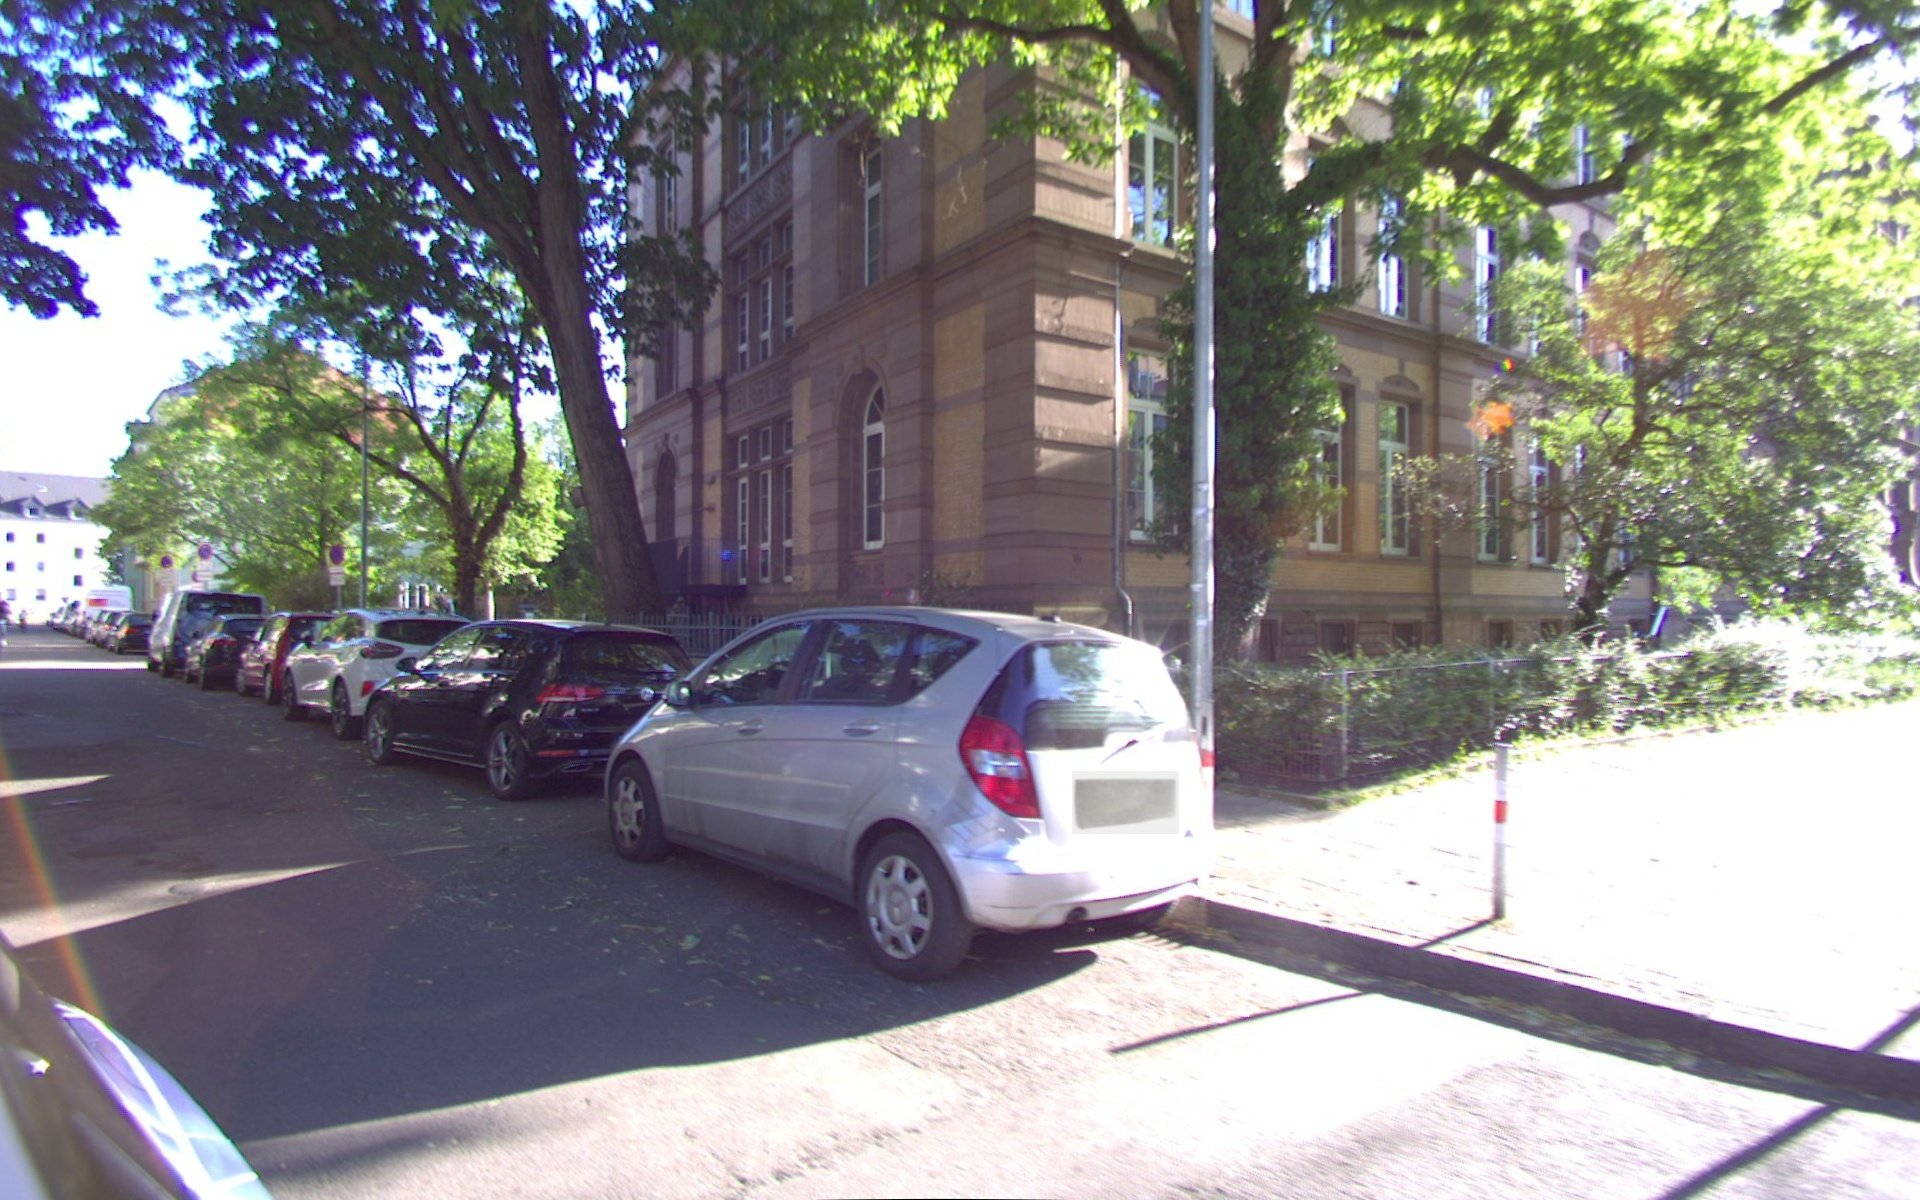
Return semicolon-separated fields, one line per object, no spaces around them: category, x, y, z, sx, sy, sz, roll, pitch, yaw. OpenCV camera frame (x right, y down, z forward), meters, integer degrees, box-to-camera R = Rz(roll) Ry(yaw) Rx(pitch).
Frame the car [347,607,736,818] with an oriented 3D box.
car;-3.965;0.886;9.276;3.997;1.475;1.565;1;-4;40

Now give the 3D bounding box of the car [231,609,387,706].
car;-11.015;0.918;17.049;1.601;1.475;3.314;2;-3;-43

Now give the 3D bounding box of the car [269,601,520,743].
car;-7.388;0.861;13.052;1.767;1.545;4.002;5;-4;-44

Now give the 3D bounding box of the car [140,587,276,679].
car;-18.218;0.793;24.413;1.970;1.973;5.047;4;-3;-43

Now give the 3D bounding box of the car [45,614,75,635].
car;-69.774;1.914;78.432;1.575;1.578;4.003;1;-1;-44

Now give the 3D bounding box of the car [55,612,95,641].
car;-58.674;1.735;67.105;1.783;1.815;4.193;1;-1;-44

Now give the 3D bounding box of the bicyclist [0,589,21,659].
bicyclist;-27.000;0.667;28.384;0.953;1.929;1.140;1;-1;-43

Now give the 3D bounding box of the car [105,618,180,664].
car;-28.220;1.376;34.887;1.714;1.475;4.004;1;-2;-43

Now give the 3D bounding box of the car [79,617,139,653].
car;-36.862;1.493;43.821;1.762;1.469;4.212;1;-1;-43

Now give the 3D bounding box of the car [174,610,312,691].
car;-14.491;0.967;20.375;1.706;1.475;3.848;2;-3;-43

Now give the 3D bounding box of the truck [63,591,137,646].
truck;-44.722;0.956;52.553;2.362;2.677;7.097;1;-1;-45

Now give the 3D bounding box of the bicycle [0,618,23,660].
bicycle;-26.969;1.079;28.370;0.971;1.151;2.549;1;-1;-44

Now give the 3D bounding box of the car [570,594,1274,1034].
car;-0.492;0.822;5.662;1.686;1.570;3.956;5;-4;-44

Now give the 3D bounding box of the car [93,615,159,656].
car;-32.582;1.344;39.515;1.730;1.484;4.004;-1;0;-43
